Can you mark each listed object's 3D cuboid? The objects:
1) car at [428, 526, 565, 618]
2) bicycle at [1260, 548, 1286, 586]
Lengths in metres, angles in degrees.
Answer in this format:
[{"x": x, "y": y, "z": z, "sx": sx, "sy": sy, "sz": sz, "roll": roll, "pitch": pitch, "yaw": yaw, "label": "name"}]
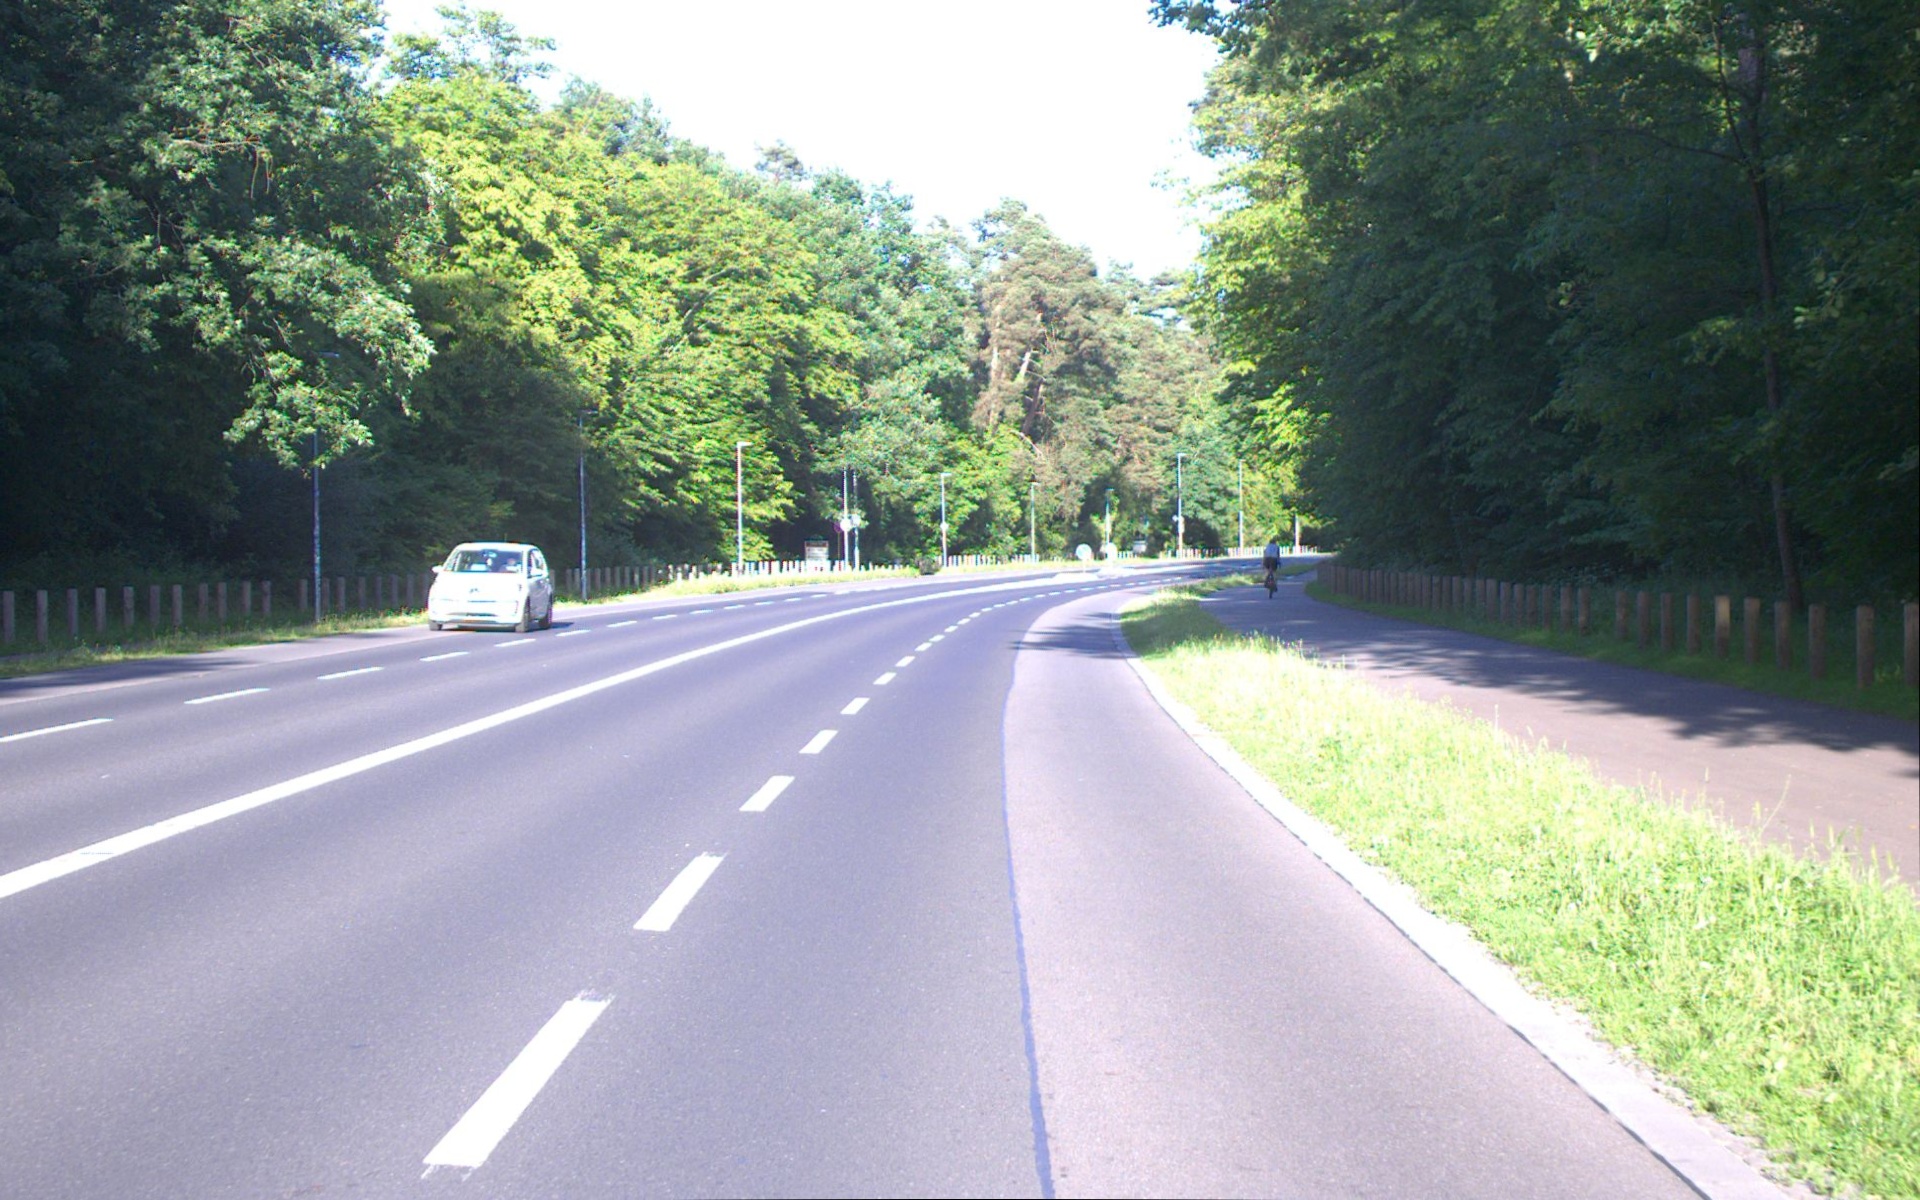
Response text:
[{"x": -7.797, "y": -0.497, "z": 58.191, "sx": 1.587, "sy": 1.432, "sz": 4.309, "roll": 2, "pitch": 1, "yaw": 1, "label": "car"}, {"x": 8.791, "y": -0.925, "z": 96.545, "sx": 0.712, "sy": 1.052, "sz": 2.052, "roll": 0, "pitch": 1, "yaw": 5, "label": "bicycle"}]
